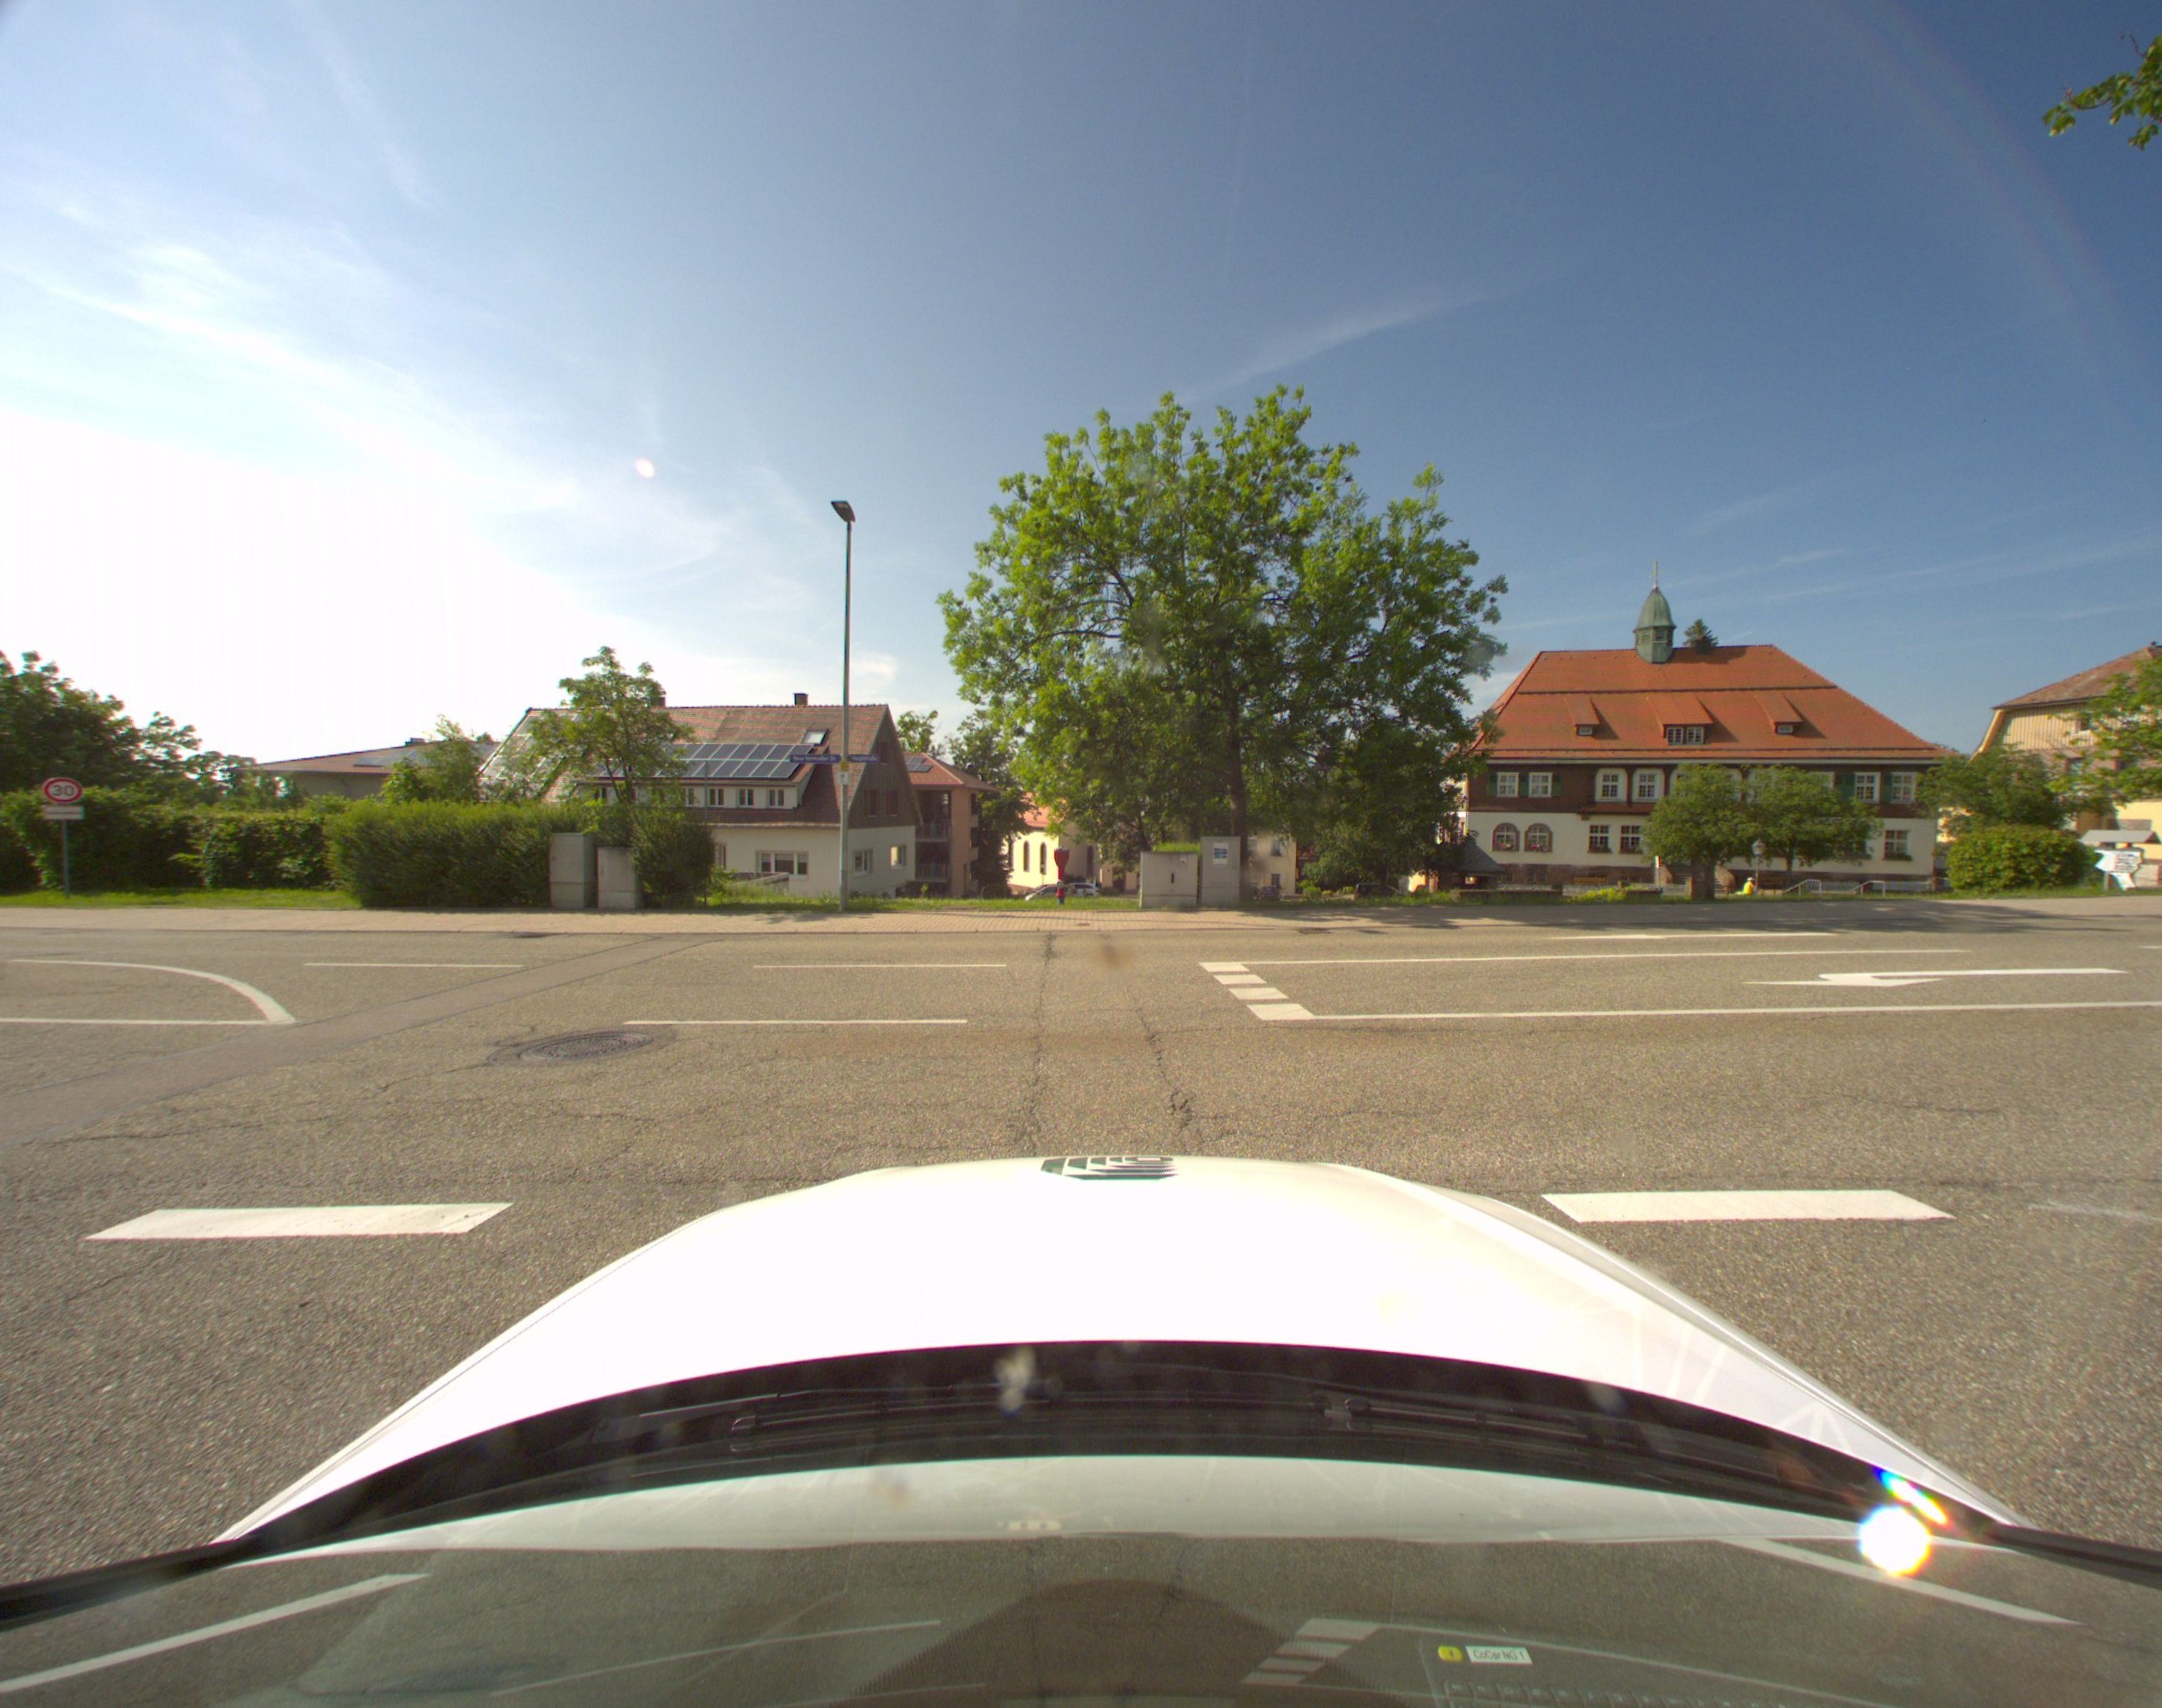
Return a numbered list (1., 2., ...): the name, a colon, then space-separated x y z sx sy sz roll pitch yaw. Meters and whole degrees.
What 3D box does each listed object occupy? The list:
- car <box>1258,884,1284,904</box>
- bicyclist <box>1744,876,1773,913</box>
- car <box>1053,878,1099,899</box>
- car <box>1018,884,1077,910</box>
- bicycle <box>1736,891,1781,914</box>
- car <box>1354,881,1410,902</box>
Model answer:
1. car: 15.745 3.292 67.652 1.699 1.542 3.791 -1 -1 6
2. bicyclist: 35.479 2.124 42.654 0.987 1.925 0.584 -1 -1 16
3. car: -0.438 2.892 68.631 3.765 1.593 1.711 -1 -1 -4
4. car: -2.384 3.043 57.821 4.081 1.758 1.711 -1 -1 -3
5. bicycle: 35.465 2.540 42.649 1.709 1.190 0.541 -1 -1 16
6. car: 22.570 2.818 61.166 3.746 1.444 1.720 -1 -1 14
